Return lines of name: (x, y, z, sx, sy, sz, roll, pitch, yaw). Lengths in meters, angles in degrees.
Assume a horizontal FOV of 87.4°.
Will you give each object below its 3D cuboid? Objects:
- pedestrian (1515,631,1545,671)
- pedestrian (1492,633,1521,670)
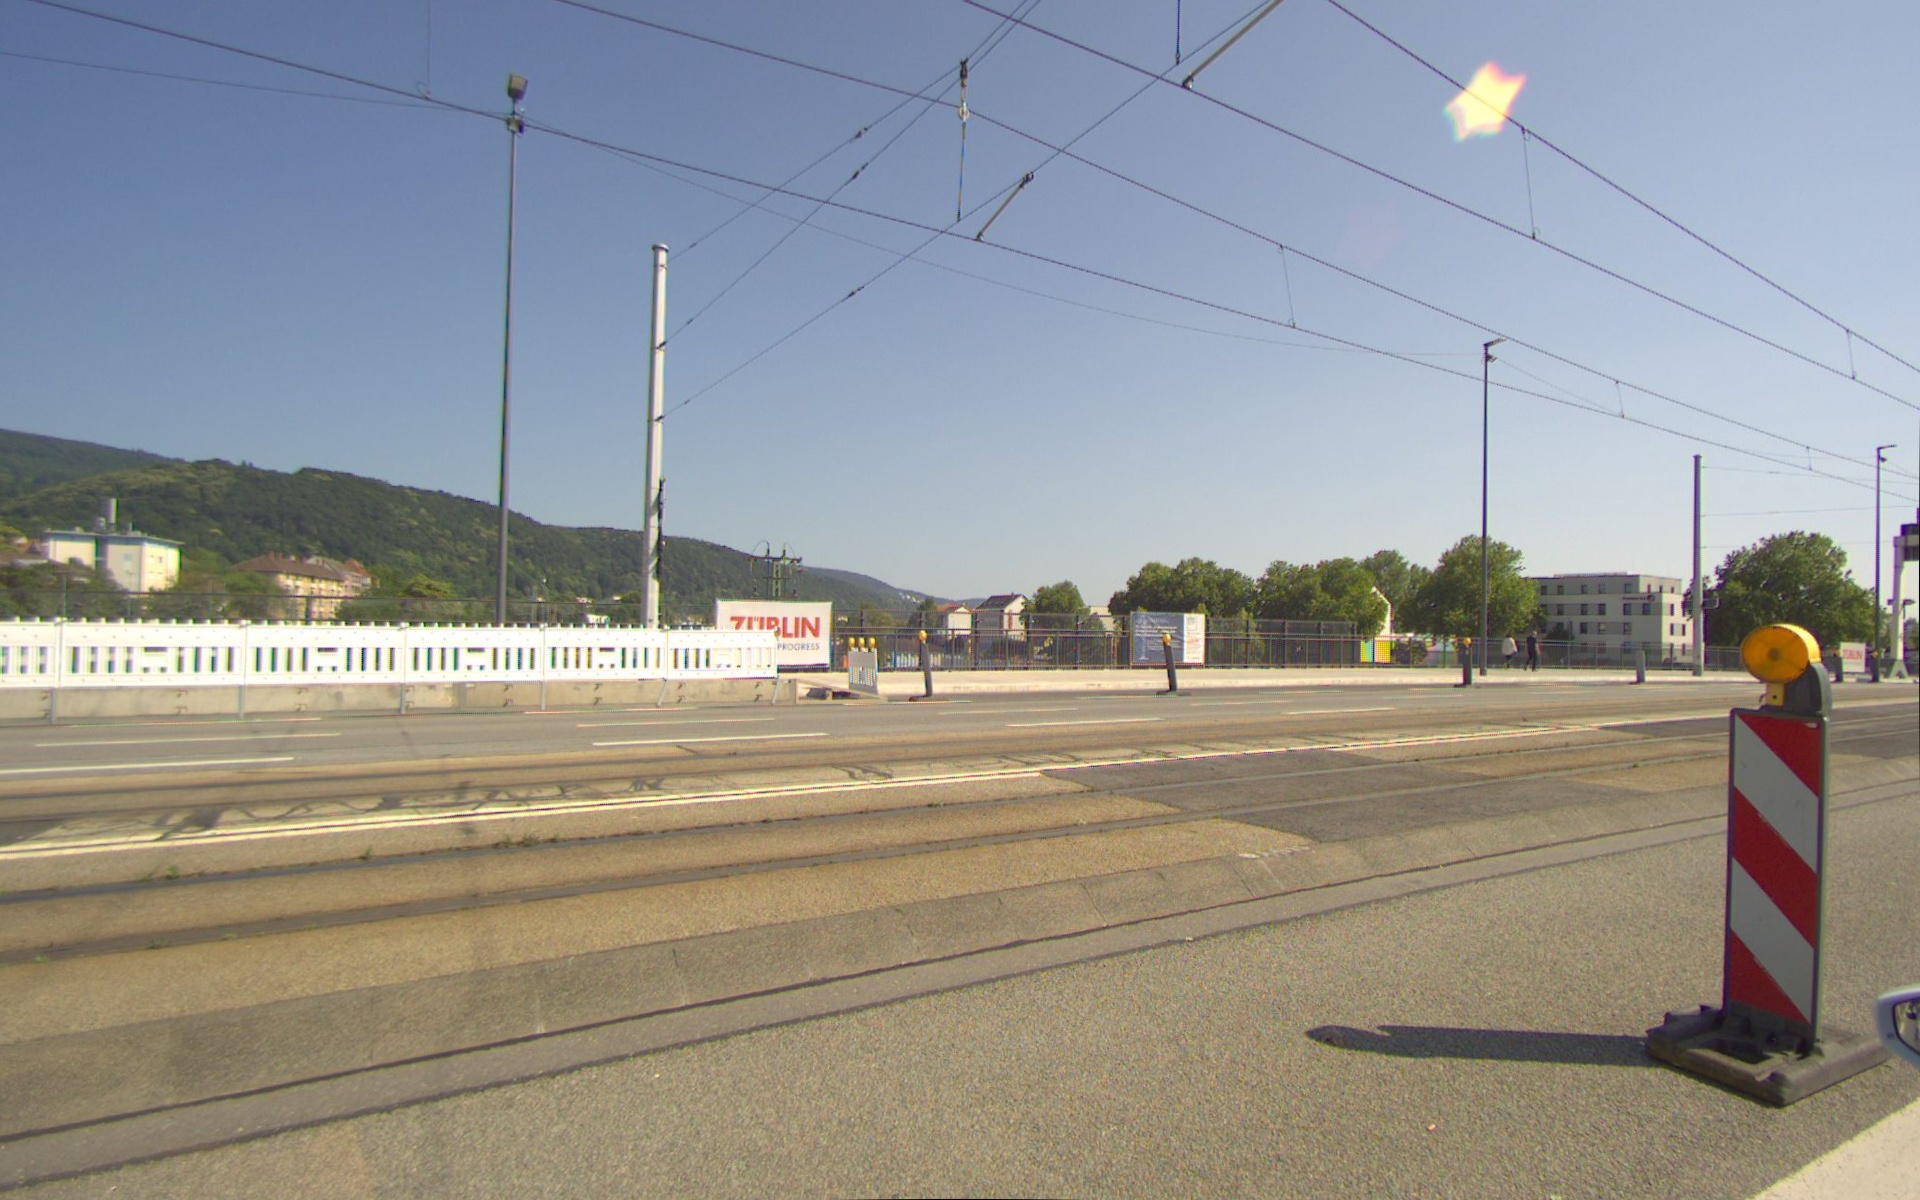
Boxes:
pedestrian: (24.619, 2.192, 43.373, 0.884, 1.663, 0.740, 2, 1, -30)
pedestrian: (24.109, 2.269, 44.295, 0.878, 1.565, 0.716, 2, 1, -30)
